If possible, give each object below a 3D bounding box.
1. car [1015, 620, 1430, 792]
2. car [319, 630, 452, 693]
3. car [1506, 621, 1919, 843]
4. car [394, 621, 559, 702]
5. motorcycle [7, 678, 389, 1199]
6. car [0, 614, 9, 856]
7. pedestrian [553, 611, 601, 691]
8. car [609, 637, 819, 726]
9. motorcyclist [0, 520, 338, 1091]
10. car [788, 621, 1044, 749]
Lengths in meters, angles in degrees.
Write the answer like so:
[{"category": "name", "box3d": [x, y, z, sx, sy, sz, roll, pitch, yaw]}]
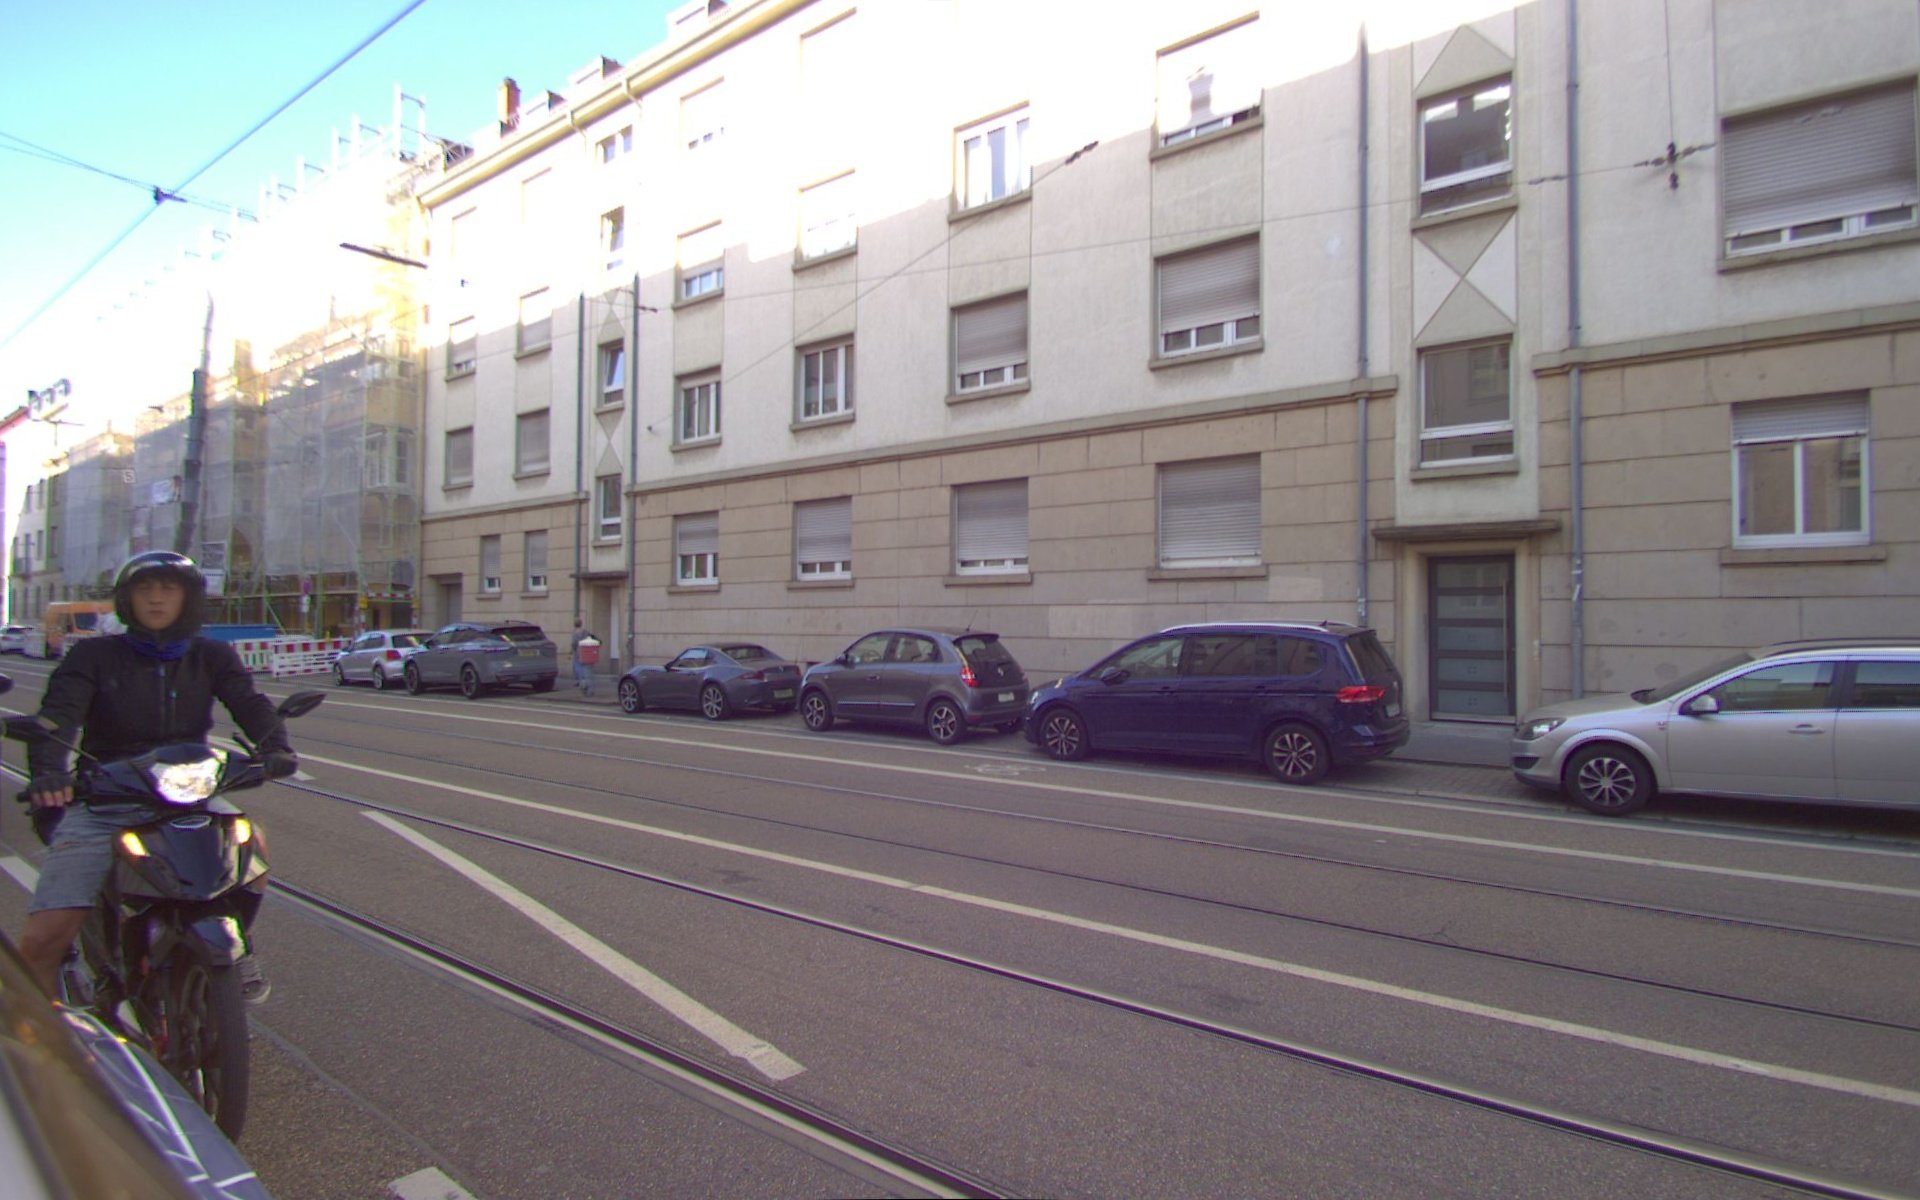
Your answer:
[{"category": "car", "box3d": [2.939, 1.051, 11.747, 4.285, 1.597, 1.887, -1, 0, 37]}, {"category": "car", "box3d": [-14.455, 1.495, 25.416, 3.639, 1.402, 1.617, -1, 0, 37]}, {"category": "car", "box3d": [7.224, 0.992, 8.528, 4.358, 1.571, 1.975, -1, 0, 38]}, {"category": "car", "box3d": [-10.876, 1.297, 22.653, 4.108, 1.603, 1.691, -1, 0, 38]}, {"category": "motorcycle", "box3d": [-2.404, 0.912, 3.077, 1.980, 1.228, 0.532, -1, 0, 41]}, {"category": "car", "box3d": [-8.056, 0.861, 7.012, 3.997, 1.515, 1.670, -2, -3, 40]}, {"category": "pedestrian", "box3d": [-8.838, 1.161, 23.375, 0.776, 1.777, 0.742, -1, 0, 41]}, {"category": "car", "box3d": [-4.294, 1.336, 17.533, 3.483, 1.286, 1.730, -1, 0, 37]}, {"category": "motorcyclist", "box3d": [-2.538, 0.544, 3.173, 0.598, 1.516, 0.851, -1, 0, 41]}, {"category": "car", "box3d": [-0.696, 1.118, 14.679, 3.493, 1.584, 1.650, -1, 0, 38]}]
